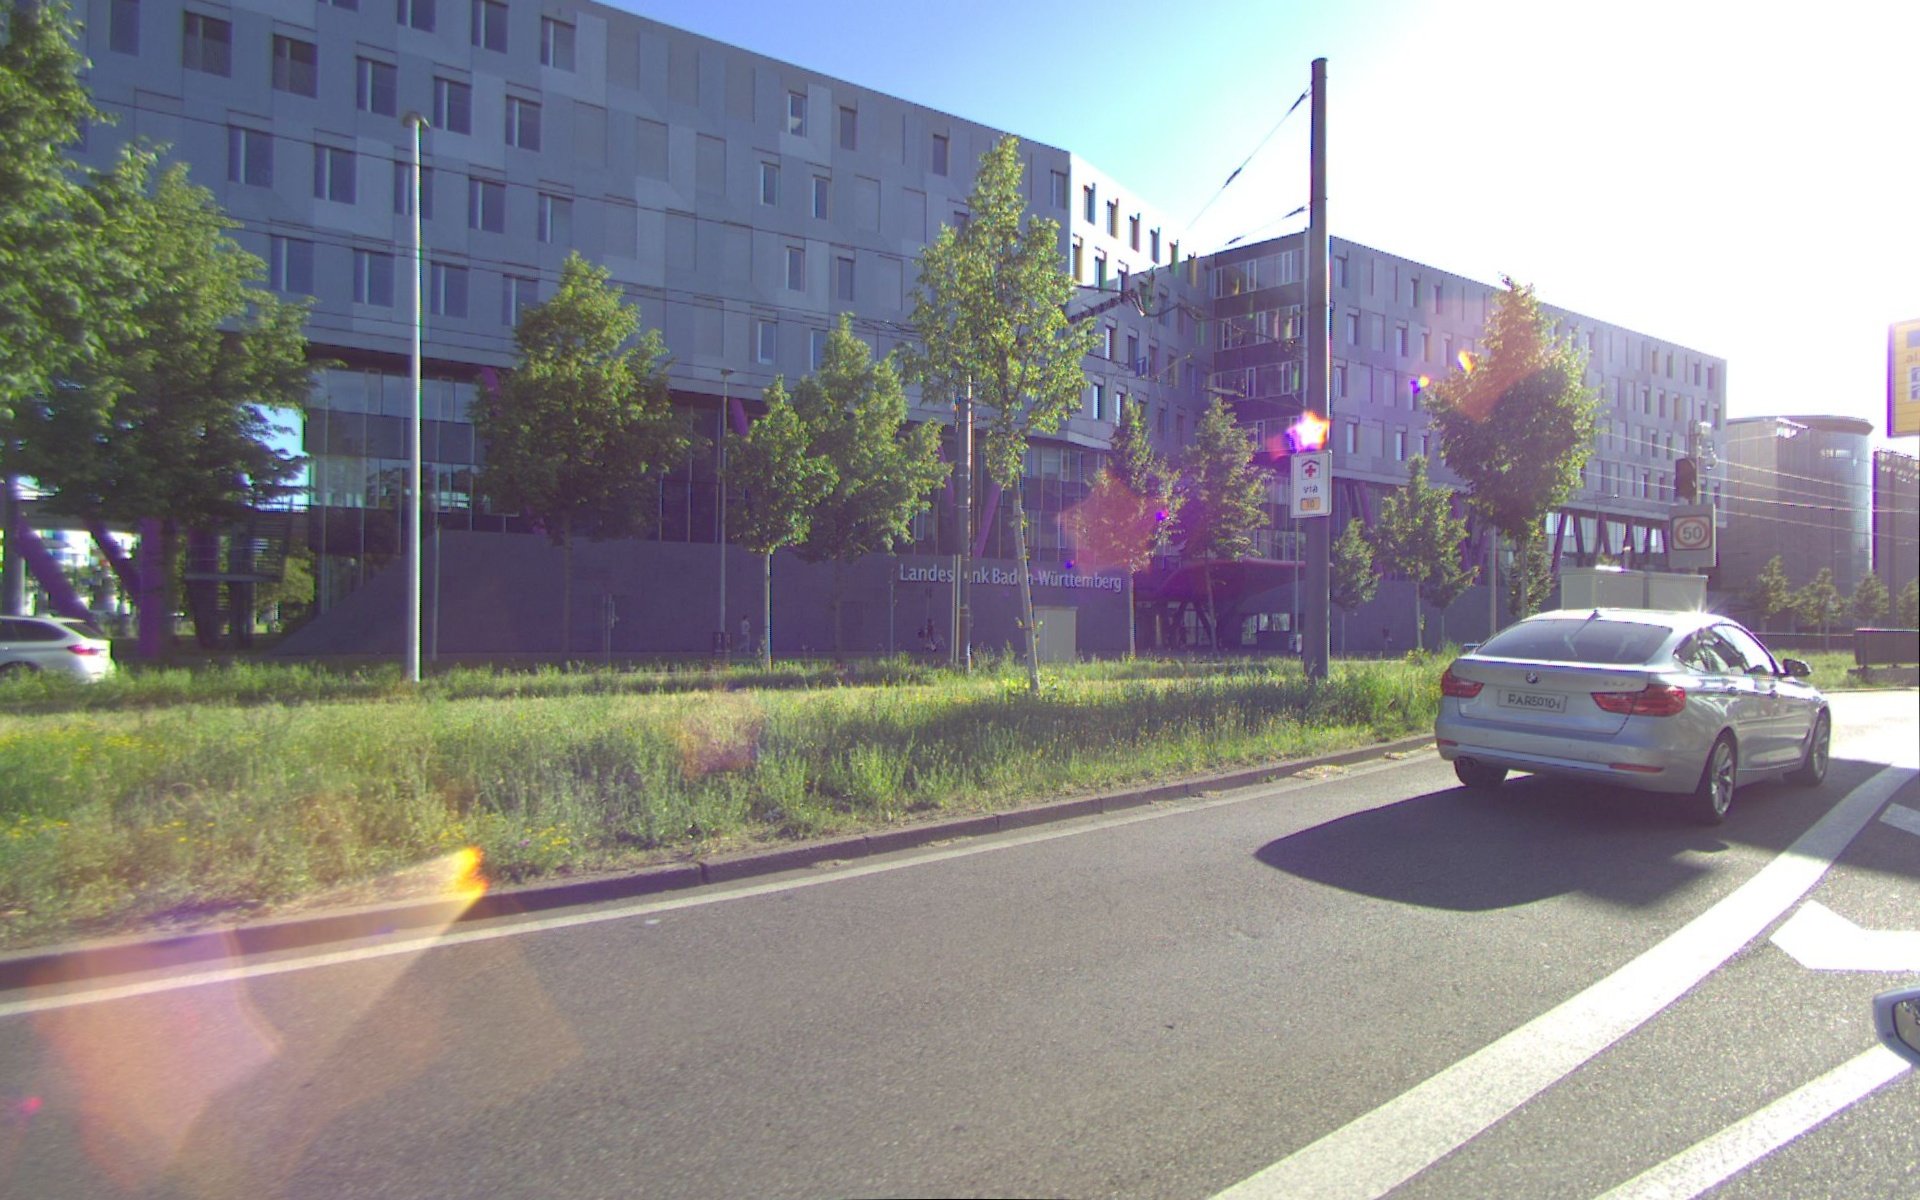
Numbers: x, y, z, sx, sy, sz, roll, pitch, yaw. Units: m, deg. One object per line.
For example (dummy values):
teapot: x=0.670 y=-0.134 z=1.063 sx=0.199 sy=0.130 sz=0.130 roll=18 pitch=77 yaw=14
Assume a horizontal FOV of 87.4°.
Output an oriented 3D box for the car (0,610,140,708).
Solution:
car: x=-16.828 y=0.957 z=16.582 sx=4.817 sy=1.583 sz=1.983 roll=1 pitch=-1 yaw=-32

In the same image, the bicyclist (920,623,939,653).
bicyclist: x=-1.533 y=1.913 z=50.427 sx=0.754 sy=1.515 sz=0.556 roll=1 pitch=-1 yaw=-30

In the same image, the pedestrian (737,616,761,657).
pedestrian: x=-9.470 y=1.631 z=45.047 sx=0.861 sy=1.846 sz=0.717 roll=1 pitch=-1 yaw=-30

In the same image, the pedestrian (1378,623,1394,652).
pedestrian: x=29.543 y=2.588 z=69.630 sx=0.681 sy=2.040 sz=0.732 roll=1 pitch=-1 yaw=-30

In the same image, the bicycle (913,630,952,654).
bicycle: x=-1.352 y=2.085 z=50.090 sx=1.952 sy=1.188 sz=0.517 roll=1 pitch=-1 yaw=-31

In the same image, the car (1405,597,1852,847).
car: x=5.882 y=0.807 z=8.559 sx=4.868 sy=1.547 sz=1.784 roll=1 pitch=0 yaw=-39
